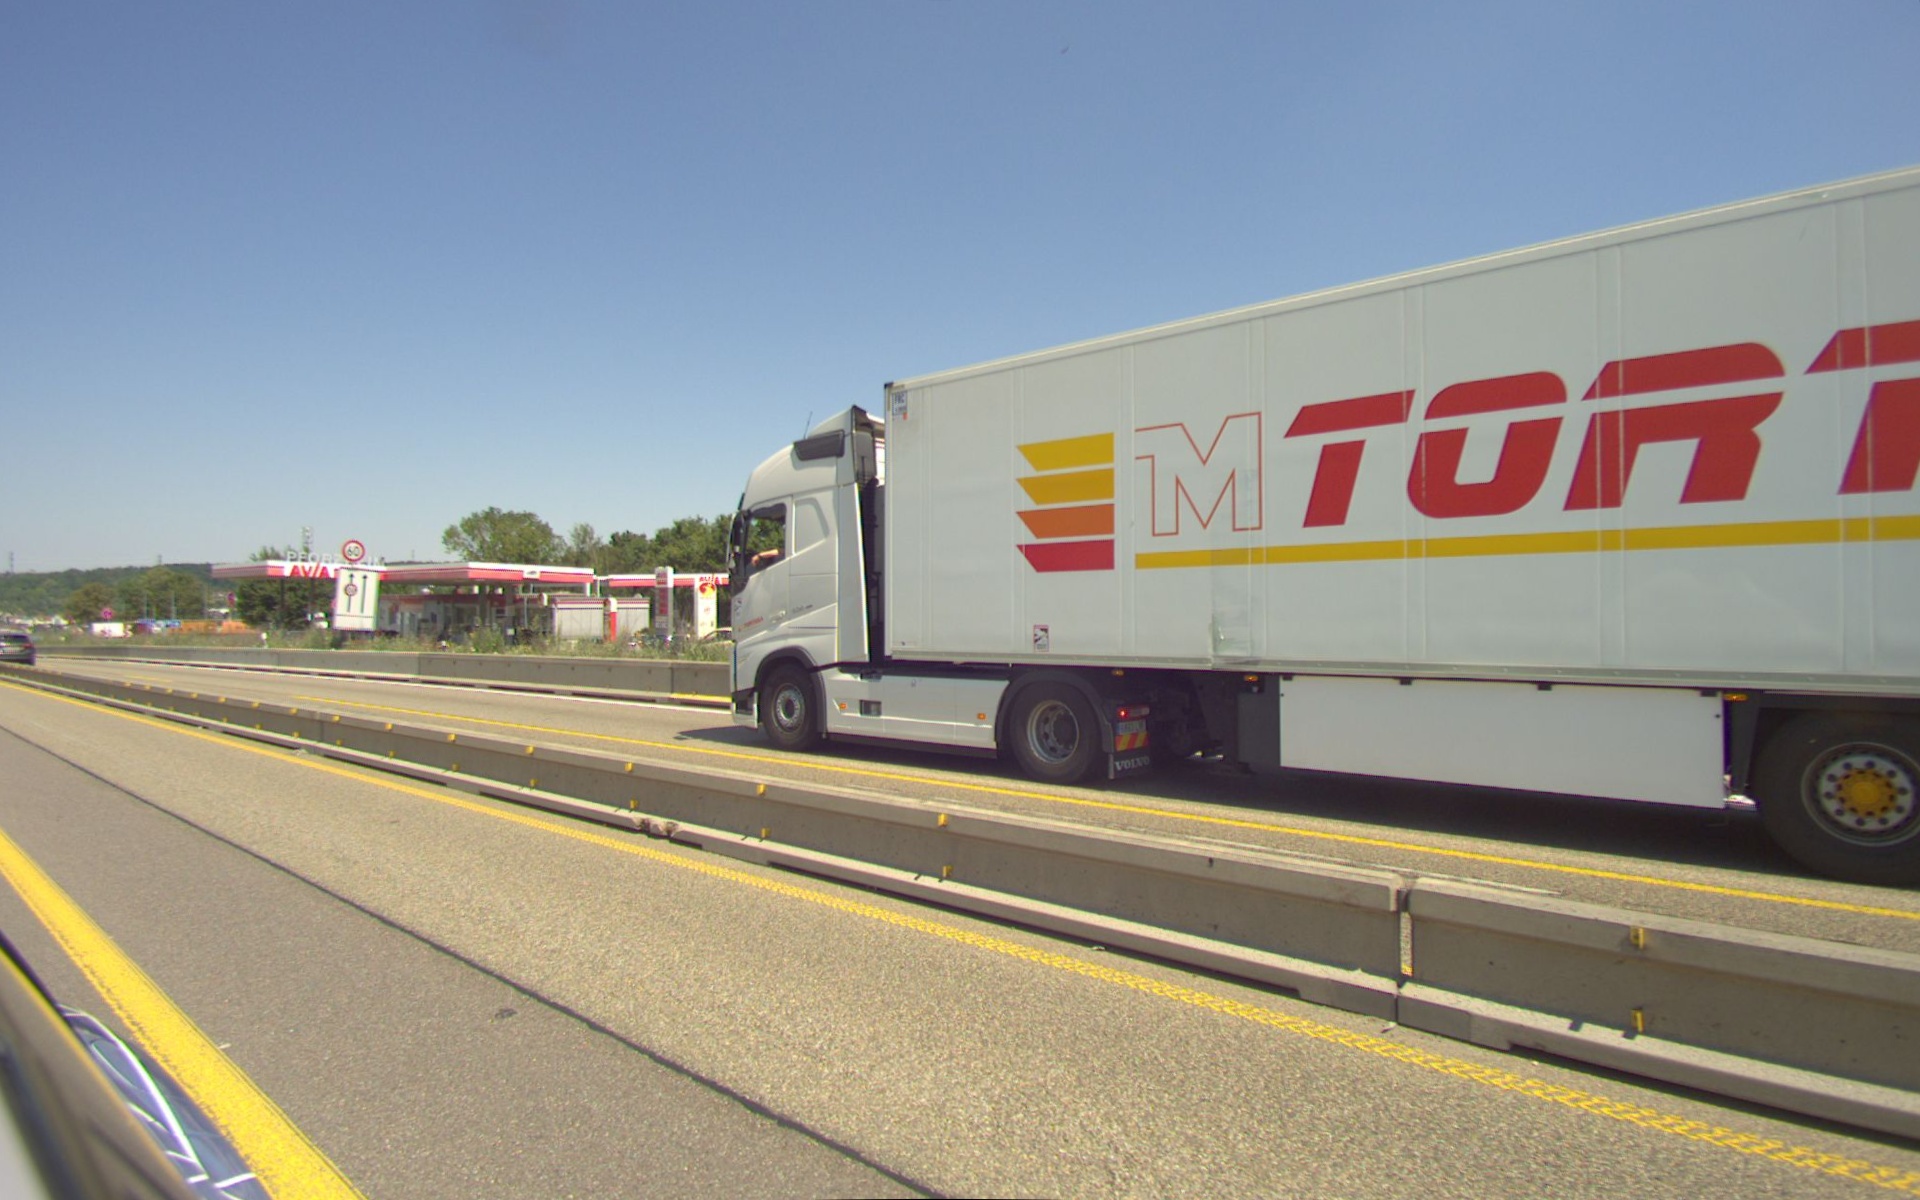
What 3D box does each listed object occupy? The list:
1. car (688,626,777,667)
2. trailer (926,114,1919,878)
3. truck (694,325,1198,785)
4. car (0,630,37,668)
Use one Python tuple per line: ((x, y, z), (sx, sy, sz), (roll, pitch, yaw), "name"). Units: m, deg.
((-8.313, 1.665, 36.912), (3.405, 1.386, 1.436), (-1, 0, 41), "car")
((5.557, -0.554, 6.987), (13.114, 4.125, 2.786), (-2, -1, 41), "trailer")
((-0.342, -0.380, 12.018), (5.454, 4.163, 2.802), (-1, 0, 40), "truck")
((-40.396, 2.038, 42.658), (3.998, 1.497, 1.776), (-1, 0, 41), "car")
